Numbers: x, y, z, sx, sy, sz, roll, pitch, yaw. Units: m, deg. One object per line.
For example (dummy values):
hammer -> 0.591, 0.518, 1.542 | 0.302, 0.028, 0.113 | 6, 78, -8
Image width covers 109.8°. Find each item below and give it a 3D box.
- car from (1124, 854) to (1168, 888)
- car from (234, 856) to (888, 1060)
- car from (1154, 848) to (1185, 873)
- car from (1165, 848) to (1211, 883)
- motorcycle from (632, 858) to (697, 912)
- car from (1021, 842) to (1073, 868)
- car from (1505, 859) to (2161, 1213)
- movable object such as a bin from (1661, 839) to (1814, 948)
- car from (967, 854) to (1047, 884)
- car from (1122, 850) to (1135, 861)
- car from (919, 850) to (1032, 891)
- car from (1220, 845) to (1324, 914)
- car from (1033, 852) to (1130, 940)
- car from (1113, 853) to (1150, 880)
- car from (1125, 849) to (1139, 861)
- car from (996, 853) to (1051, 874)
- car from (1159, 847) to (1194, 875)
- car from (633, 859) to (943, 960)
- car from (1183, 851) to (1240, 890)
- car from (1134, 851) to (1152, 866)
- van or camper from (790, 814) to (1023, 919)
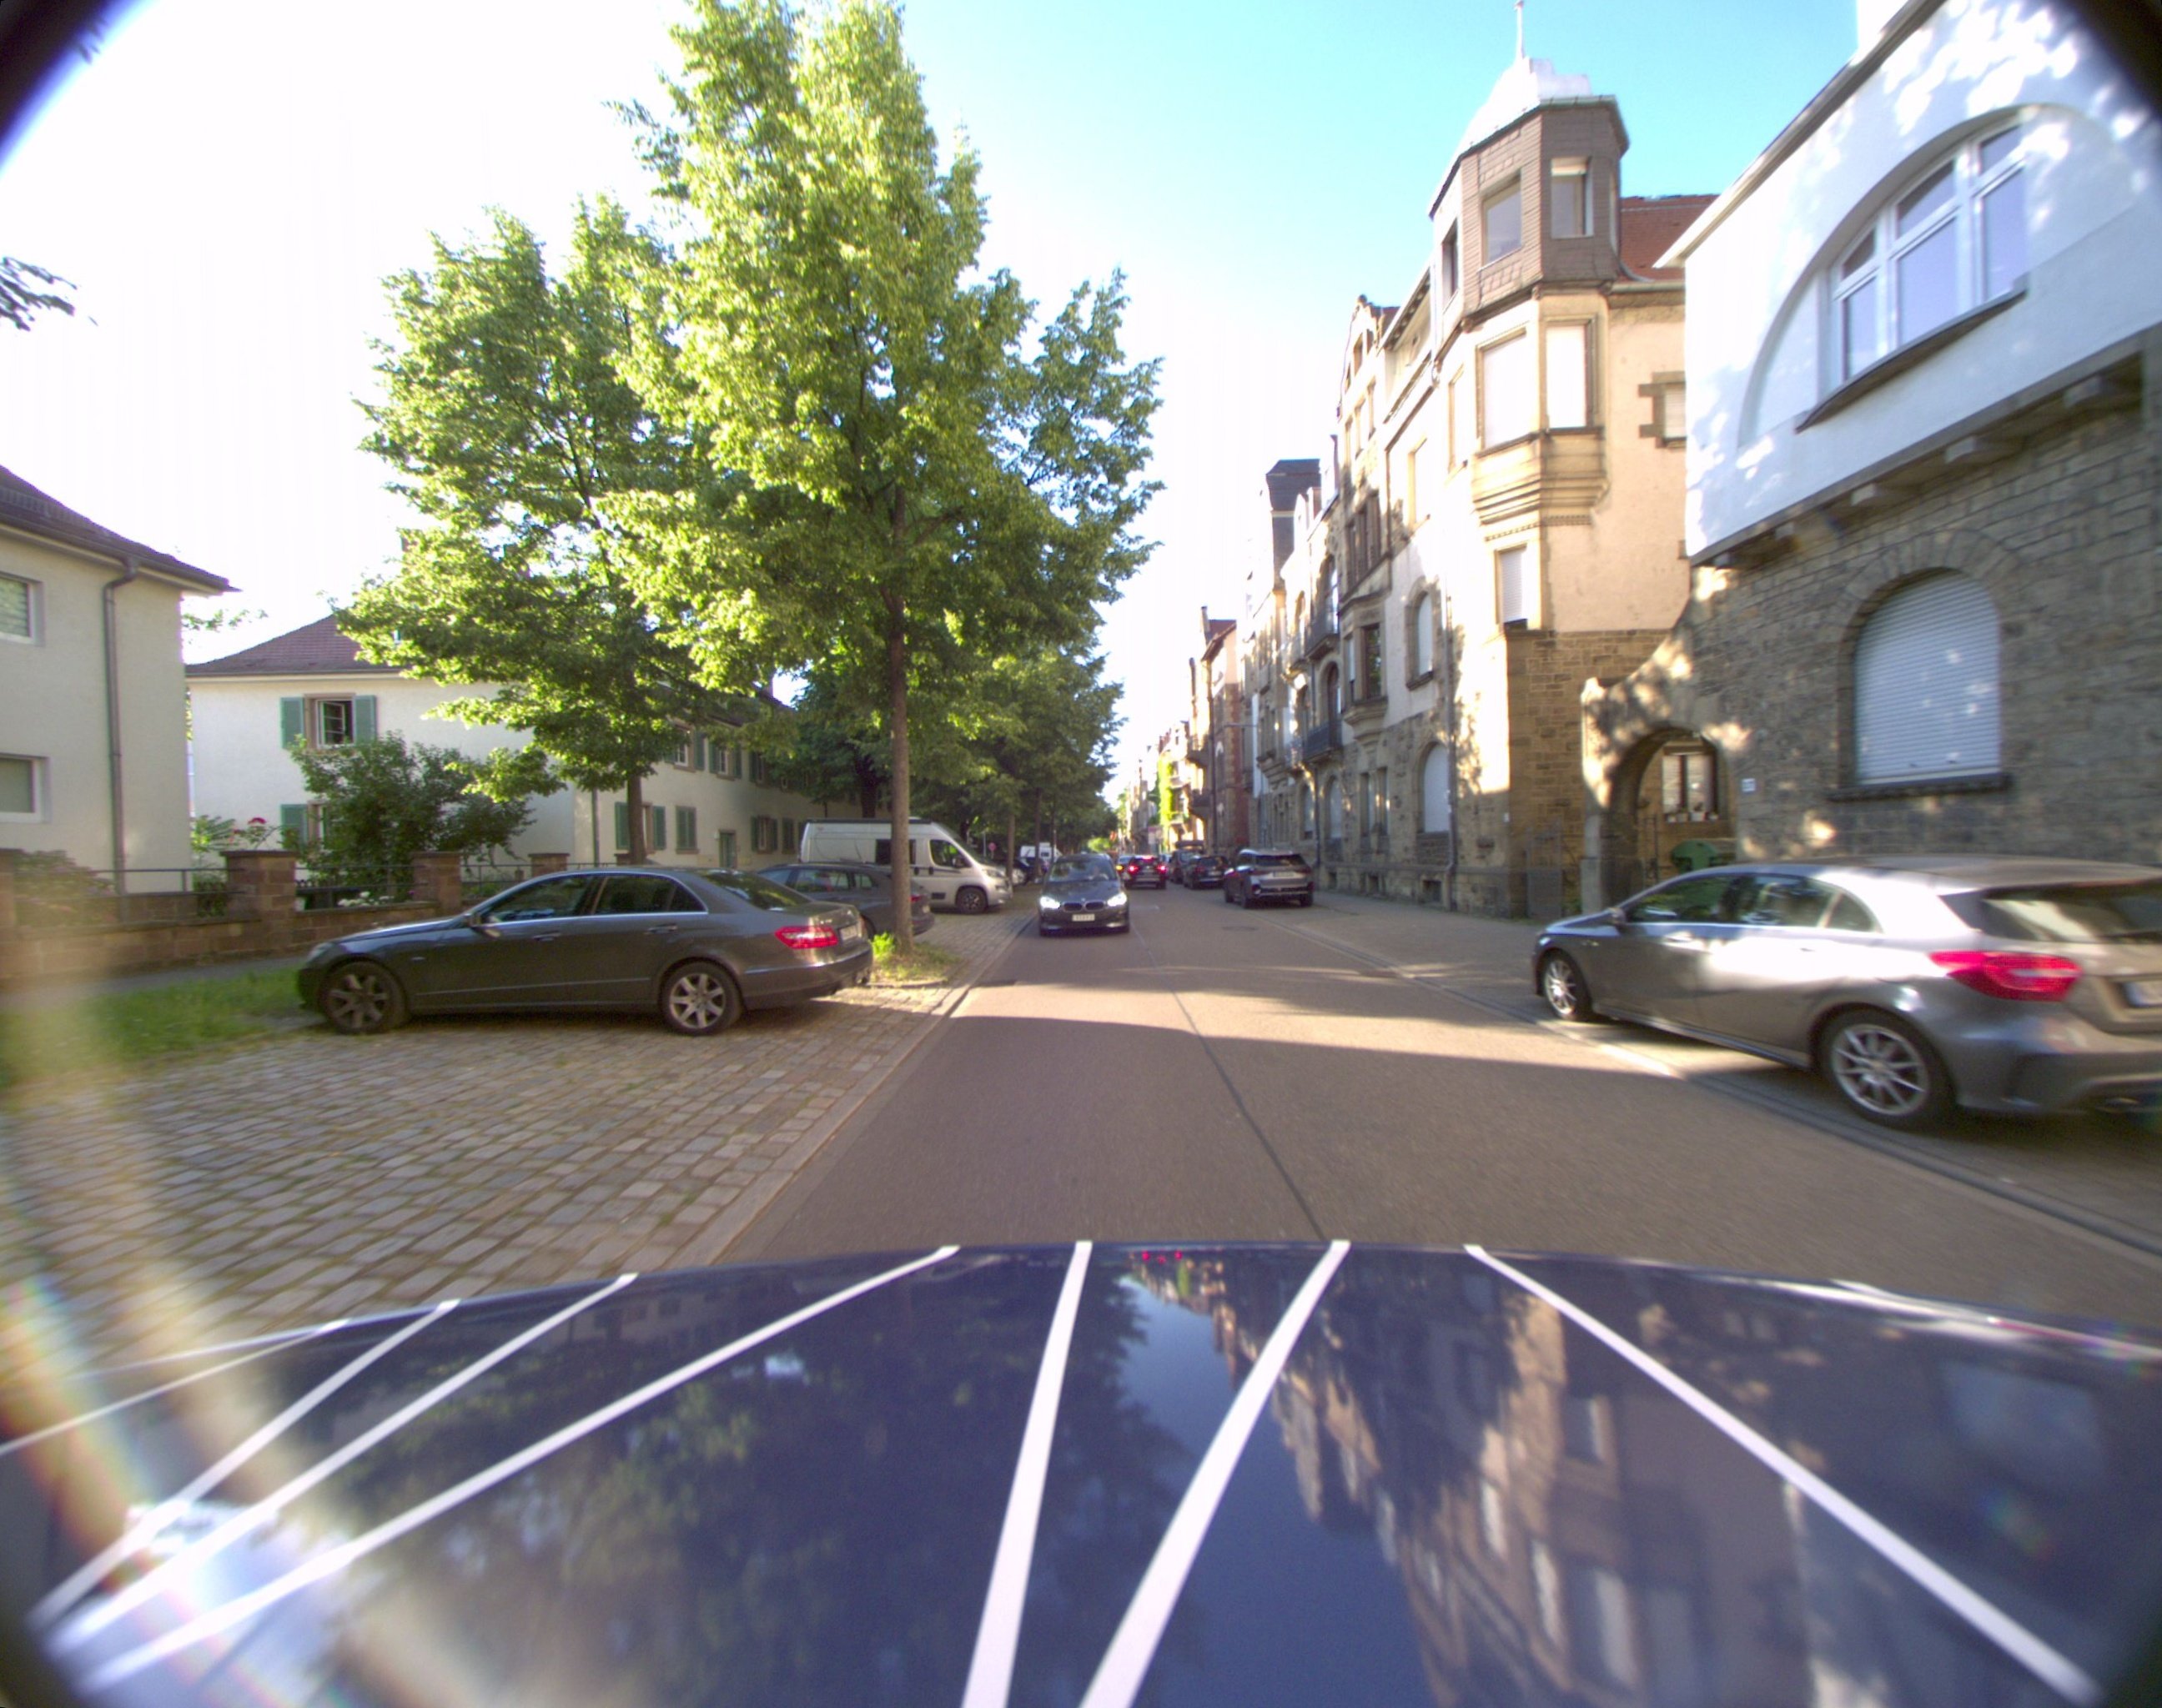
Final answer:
car -> 2.917, 0.735, 34.815 | 1.631, 1.469, 3.759 | 0, 0, -1
car -> -4.522, 0.868, 7.222 | 4.850, 1.530, 1.894 | 2, 1, -1
car -> 5.878, 0.455, 51.042 | 1.633, 1.496, 3.856 | -5, -1, 2
car -> 5.556, 0.547, 39.891 | 1.774, 1.658, 4.212 | -2, 1, 0
motorcycle -> -12.079, 0.868, 22.108 | 0.660, 1.398, 2.016 | -3, 1, 1
car -> -3.581, 0.116, 81.247 | 5.448, 2.646, 2.134 | 0, 1, 1
car -> 5.016, 0.809, 5.371 | 1.681, 1.434, 4.111 | -3, 0, 0
movable object such as a bin -> 9.582, 0.543, 11.153 | 1.196, 1.470, 1.173 | -3, 1, 0
car -> -3.880, 0.795, 40.248 | 3.997, 1.543, 1.555 | 0, 1, 1
car -> 7.246, 0.237, 115.855 | 1.710, 1.496, 3.629 | -5, -1, 2
car -> -4.496, 0.691, 32.995 | 4.606, 1.706, 2.000 | 1, 1, -1
car -> 5.293, 0.637, 21.667 | 1.881, 1.707, 4.339 | -2, 0, 1
car -> 0.063, 0.795, 16.537 | 1.753, 1.596, 4.550 | -2, 0, 1
car -> 3.116, 0.765, 47.619 | 1.868, 1.454, 4.567 | -2, 1, 0
car -> 7.260, 0.213, 108.091 | 1.710, 1.496, 3.629 | -5, -1, 2
car -> -4.184, 0.689, 55.583 | 3.998, 1.504, 1.572 | 0, 1, -3
car -> 5.666, 0.427, 45.370 | 1.633, 1.439, 3.856 | -5, -1, 2
car -> -4.767, 0.875, 12.828 | 4.486, 1.427, 1.828 | 2, 1, 1
car -> 5.649, 0.666, 33.333 | 1.774, 1.493, 4.211 | -1, 2, 0
car -> 6.963, 0.510, 85.438 | 1.686, 1.496, 3.629 | -5, -1, 2
van or camper -> -4.584, 0.315, 20.656 | 5.733, 2.502, 2.162 | 2, 1, 0
